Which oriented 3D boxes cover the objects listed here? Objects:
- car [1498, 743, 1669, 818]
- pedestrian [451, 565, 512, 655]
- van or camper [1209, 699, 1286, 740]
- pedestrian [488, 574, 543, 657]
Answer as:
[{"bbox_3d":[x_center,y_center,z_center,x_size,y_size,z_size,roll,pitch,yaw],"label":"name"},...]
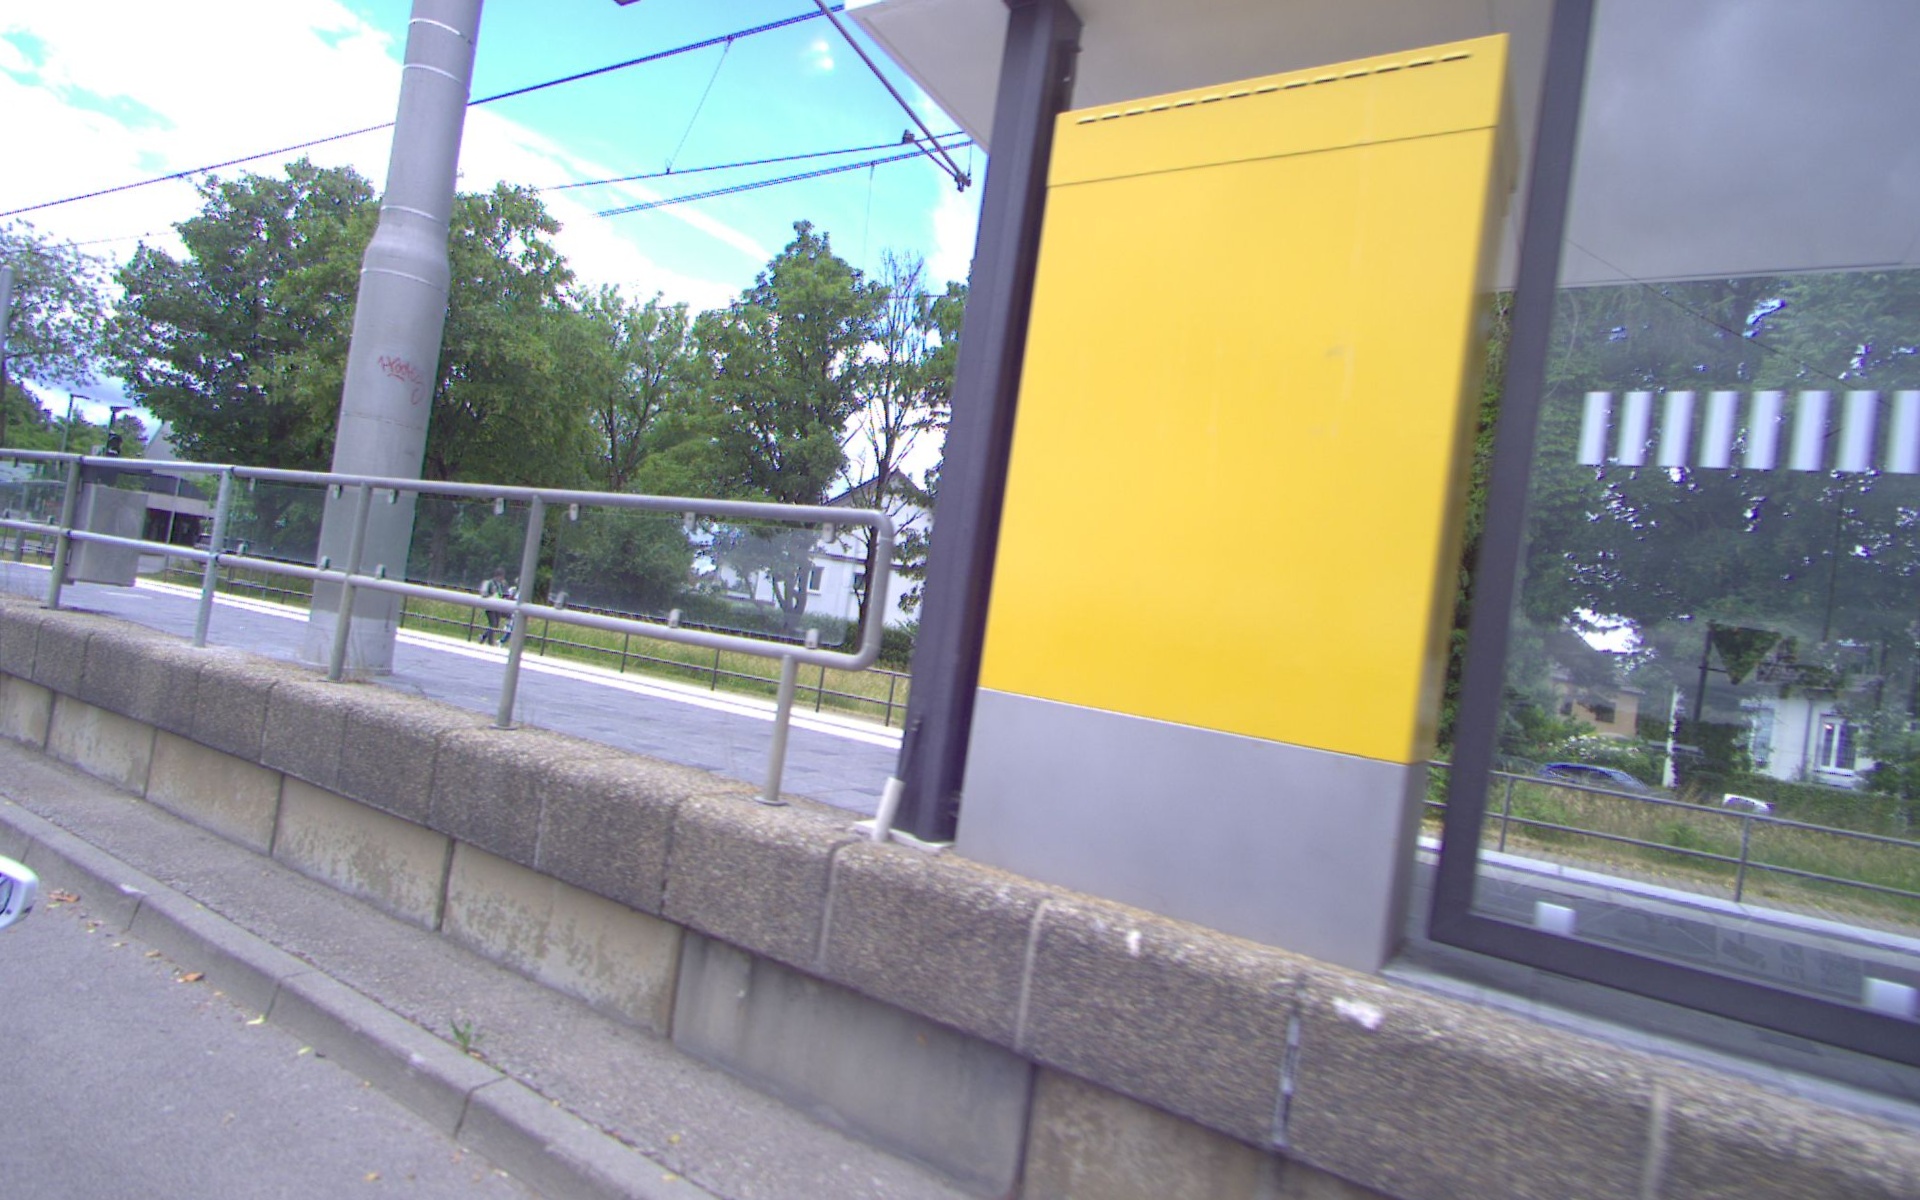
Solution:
[{"bbox_3d":[18.645,5.373,30.188,3.949,1.455,1.788,6,-4,45],"label":"car"},{"bbox_3d":[-9.379,0.195,19.729,0.776,1.640,0.494,7,-2,27],"label":"pedestrian"},{"bbox_3d":[16.607,6.911,58.294,1.974,1.669,4.314,10,-3,-20],"label":"van or camper"},{"bbox_3d":[-9.052,0.324,20.486,0.680,1.579,0.494,7,-2,27],"label":"pedestrian"}]
